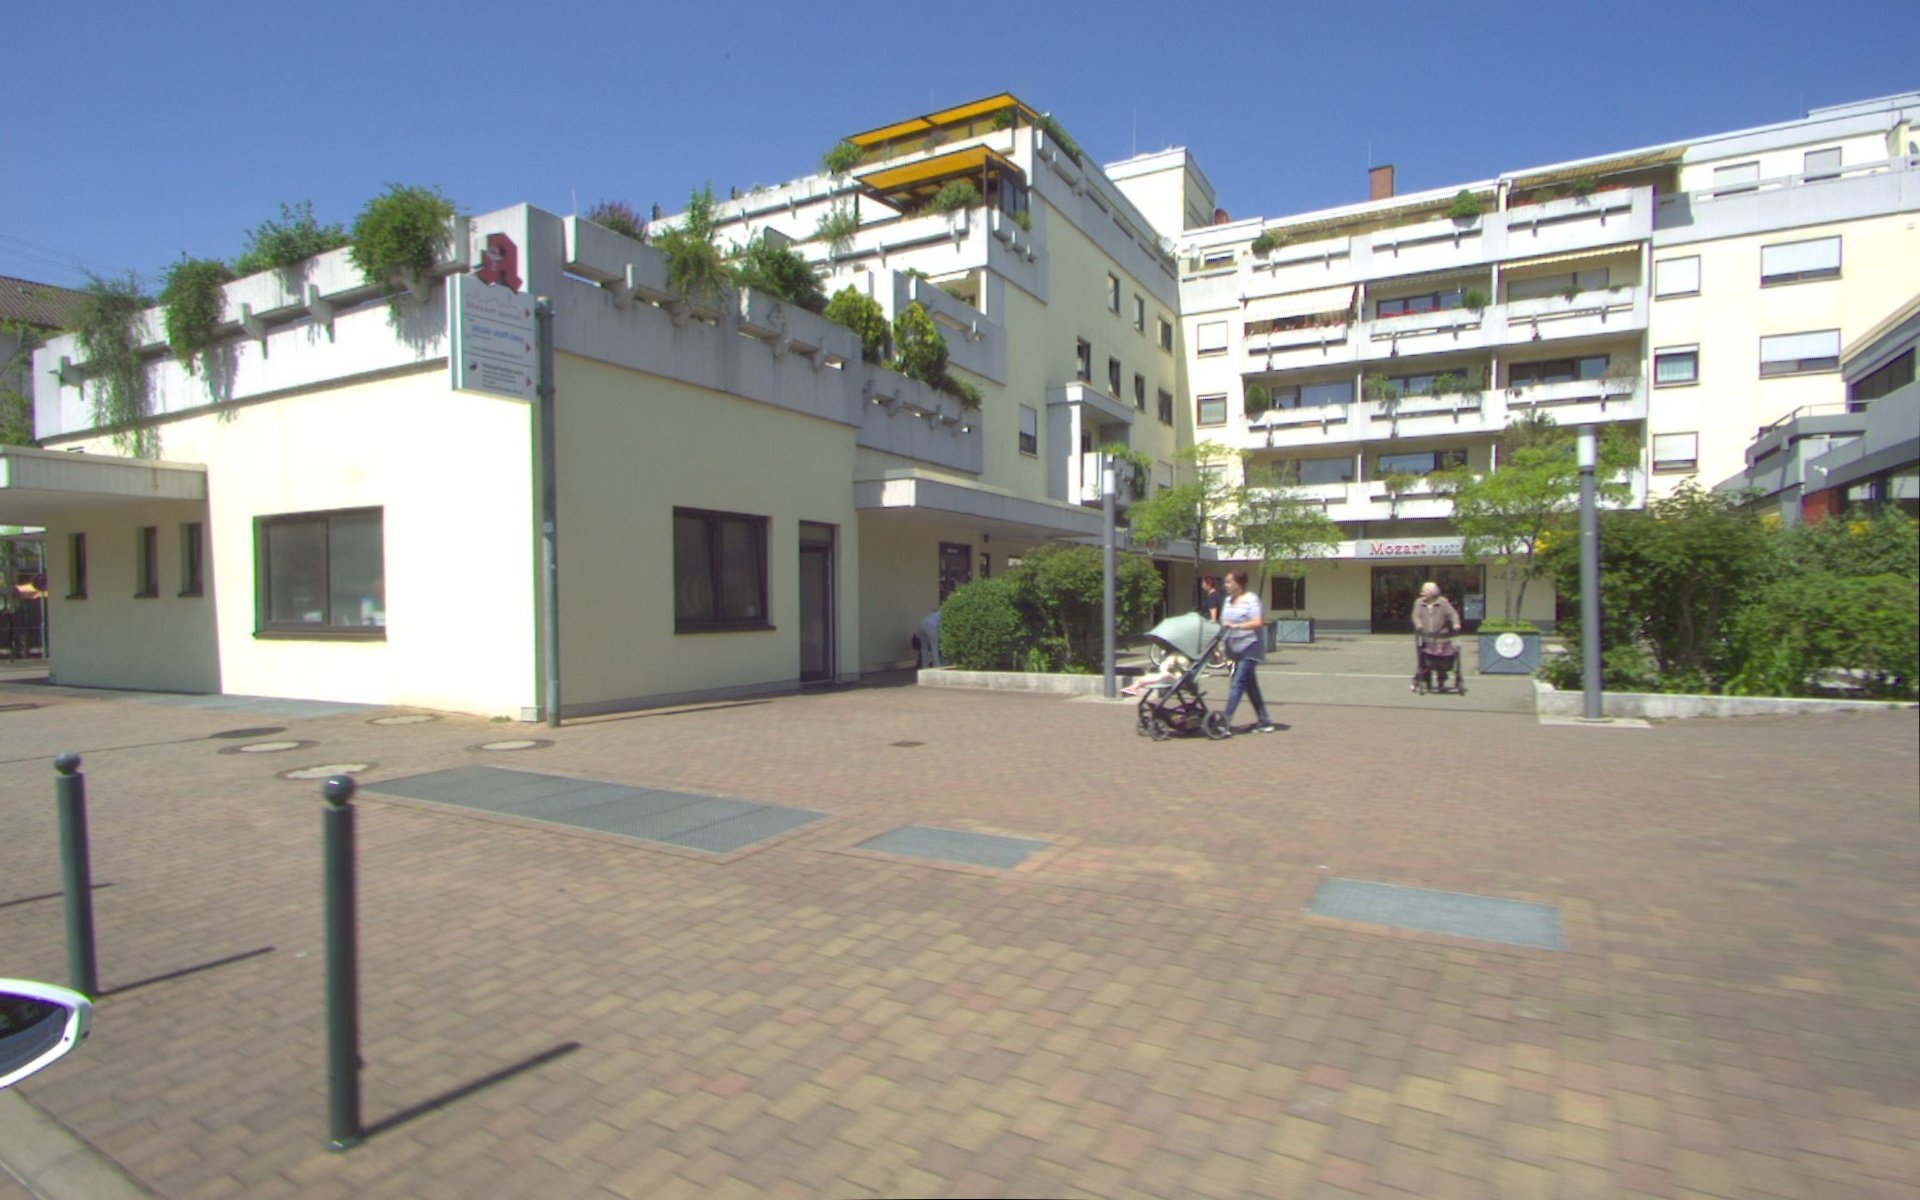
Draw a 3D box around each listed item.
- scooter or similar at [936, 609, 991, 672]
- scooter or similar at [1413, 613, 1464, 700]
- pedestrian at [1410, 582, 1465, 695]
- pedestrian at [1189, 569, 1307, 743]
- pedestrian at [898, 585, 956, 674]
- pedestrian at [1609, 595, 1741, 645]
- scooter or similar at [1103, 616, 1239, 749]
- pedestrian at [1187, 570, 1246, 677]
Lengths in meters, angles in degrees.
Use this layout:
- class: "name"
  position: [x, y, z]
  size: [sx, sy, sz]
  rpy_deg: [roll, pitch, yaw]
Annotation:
- class: "scooter or similar"
  position: [0.064, 0.703, 17.859]
  size: [0.795, 1.089, 0.587]
  rpy_deg: [-1, 1, -34]
- class: "scooter or similar"
  position: [6.285, 0.724, 13.172]
  size: [0.581, 1.089, 0.802]
  rpy_deg: [0, 1, 25]
- class: "pedestrian"
  position: [6.630, 0.515, 13.907]
  size: [0.658, 1.517, 0.808]
  rpy_deg: [0, 1, 26]
- class: "pedestrian"
  position: [2.661, 0.499, 9.293]
  size: [0.787, 1.541, 0.704]
  rpy_deg: [0, 1, -19]
- class: "pedestrian"
  position: [-0.574, 0.497, 17.406]
  size: [0.800, 1.517, 0.615]
  rpy_deg: [-1, 1, -34]
- class: "pedestrian"
  position: [19.290, 0.527, 27.112]
  size: [2.730, 1.290, 0.984]
  rpy_deg: [0, 1, 24]
- class: "scooter or similar"
  position: [1.892, 0.711, 9.002]
  size: [1.025, 1.121, 0.626]
  rpy_deg: [0, 1, -19]
- class: "pedestrian"
  position: [4.326, 0.389, 16.871]
  size: [0.887, 1.760, 0.702]
  rpy_deg: [0, 1, 22]
